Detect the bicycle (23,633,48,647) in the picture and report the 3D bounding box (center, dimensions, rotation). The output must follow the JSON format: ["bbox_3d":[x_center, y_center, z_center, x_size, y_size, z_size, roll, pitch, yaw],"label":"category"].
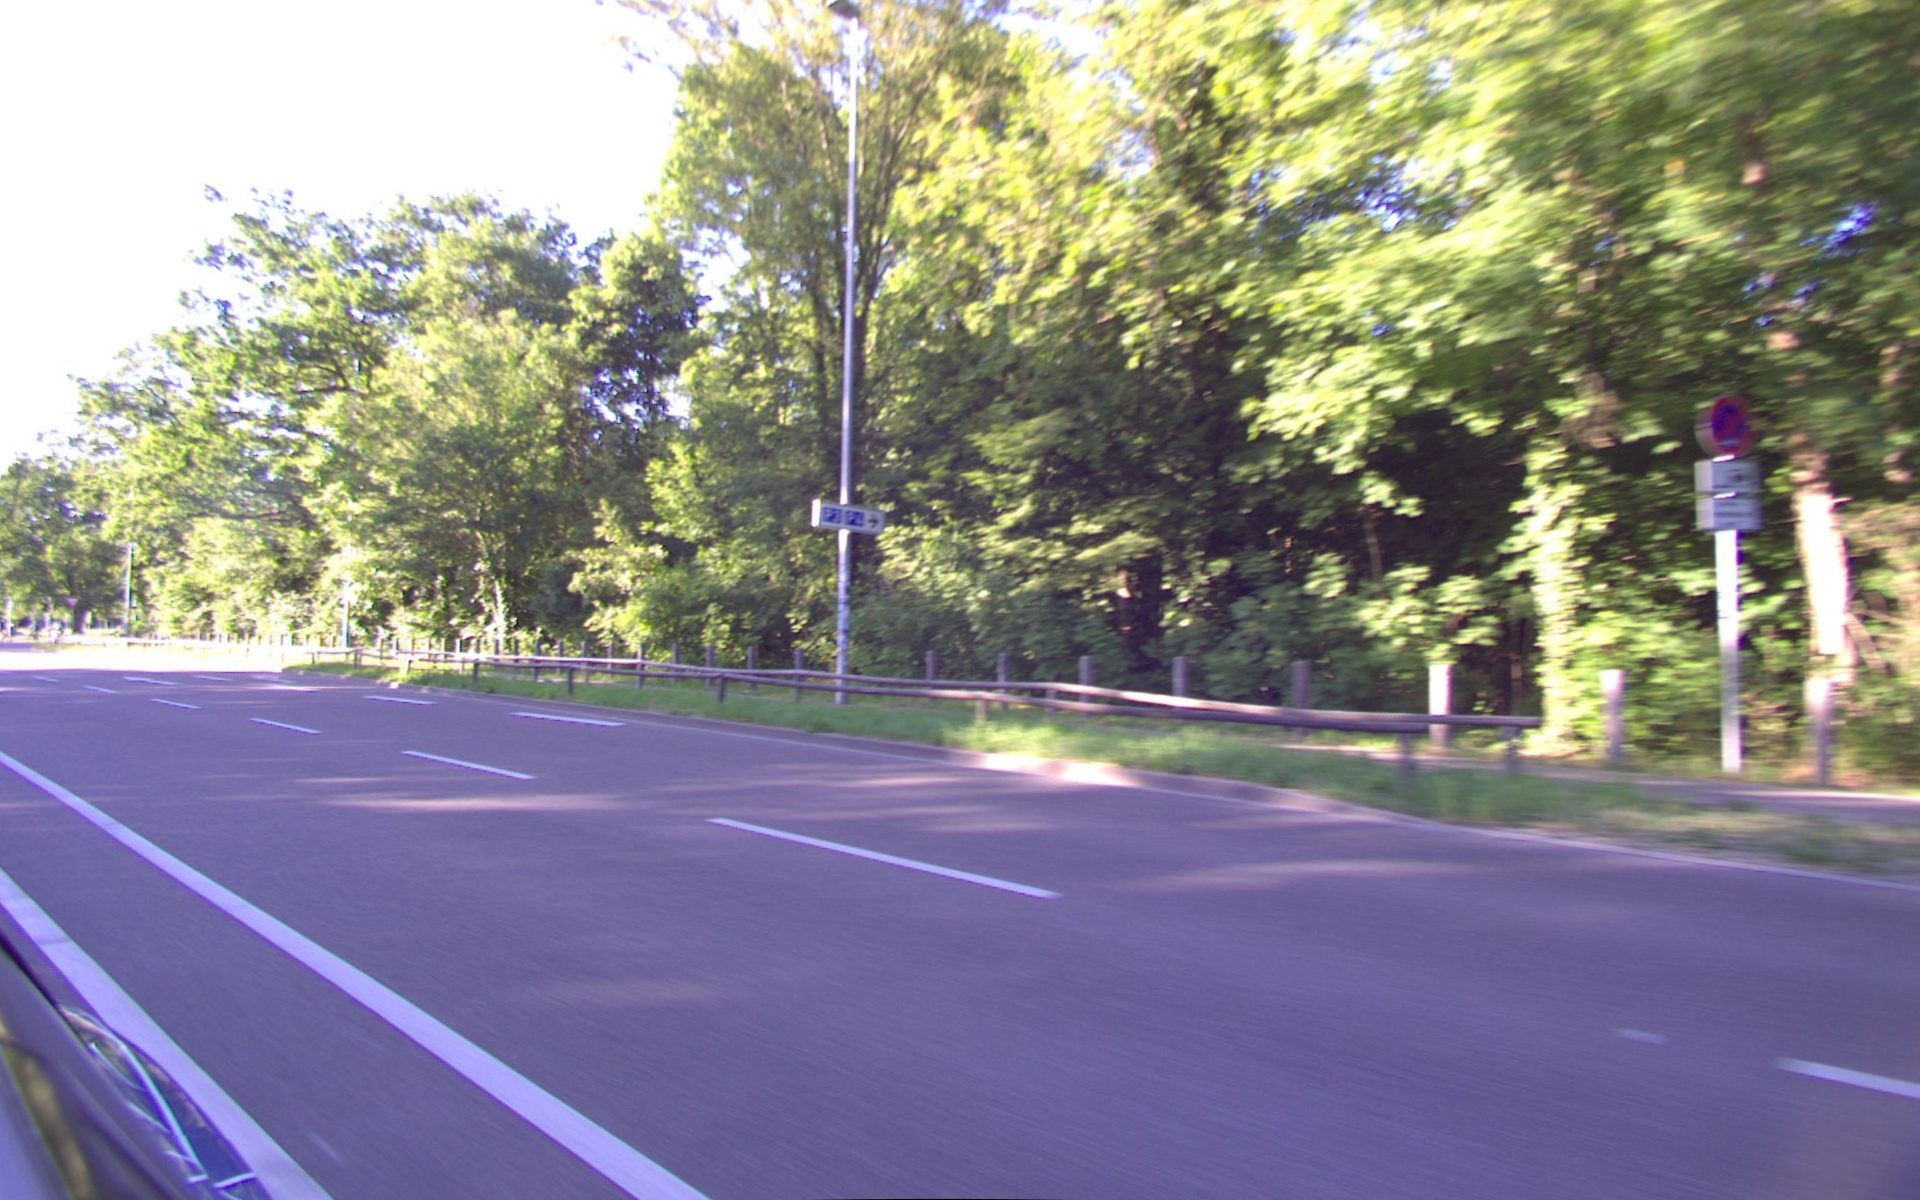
[{"bbox_3d":[-70.736,3.052,77.446,0.522,0.984,1.338,-1,-1,37],"label":"bicycle"}]

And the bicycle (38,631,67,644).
[{"bbox_3d":[-71.873,2.938,80.181,1.563,0.984,0.787,0,-1,-21],"label":"bicycle"}]

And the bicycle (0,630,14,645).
[{"bbox_3d":[-74.622,2.933,79.036,0.670,1.163,1.990,-1,-2,-30],"label":"bicycle"}]

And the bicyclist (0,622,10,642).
[{"bbox_3d":[-74.565,2.490,78.925,0.554,1.563,0.802,-1,-3,-30],"label":"bicyclist"}]

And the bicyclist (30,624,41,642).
[{"bbox_3d":[-70.747,2.517,77.434,0.518,1.411,0.523,-1,-1,38],"label":"bicyclist"}]

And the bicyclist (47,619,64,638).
[{"bbox_3d":[-71.724,2.274,80.247,0.786,1.494,0.732,0,-1,-21],"label":"bicyclist"}]
